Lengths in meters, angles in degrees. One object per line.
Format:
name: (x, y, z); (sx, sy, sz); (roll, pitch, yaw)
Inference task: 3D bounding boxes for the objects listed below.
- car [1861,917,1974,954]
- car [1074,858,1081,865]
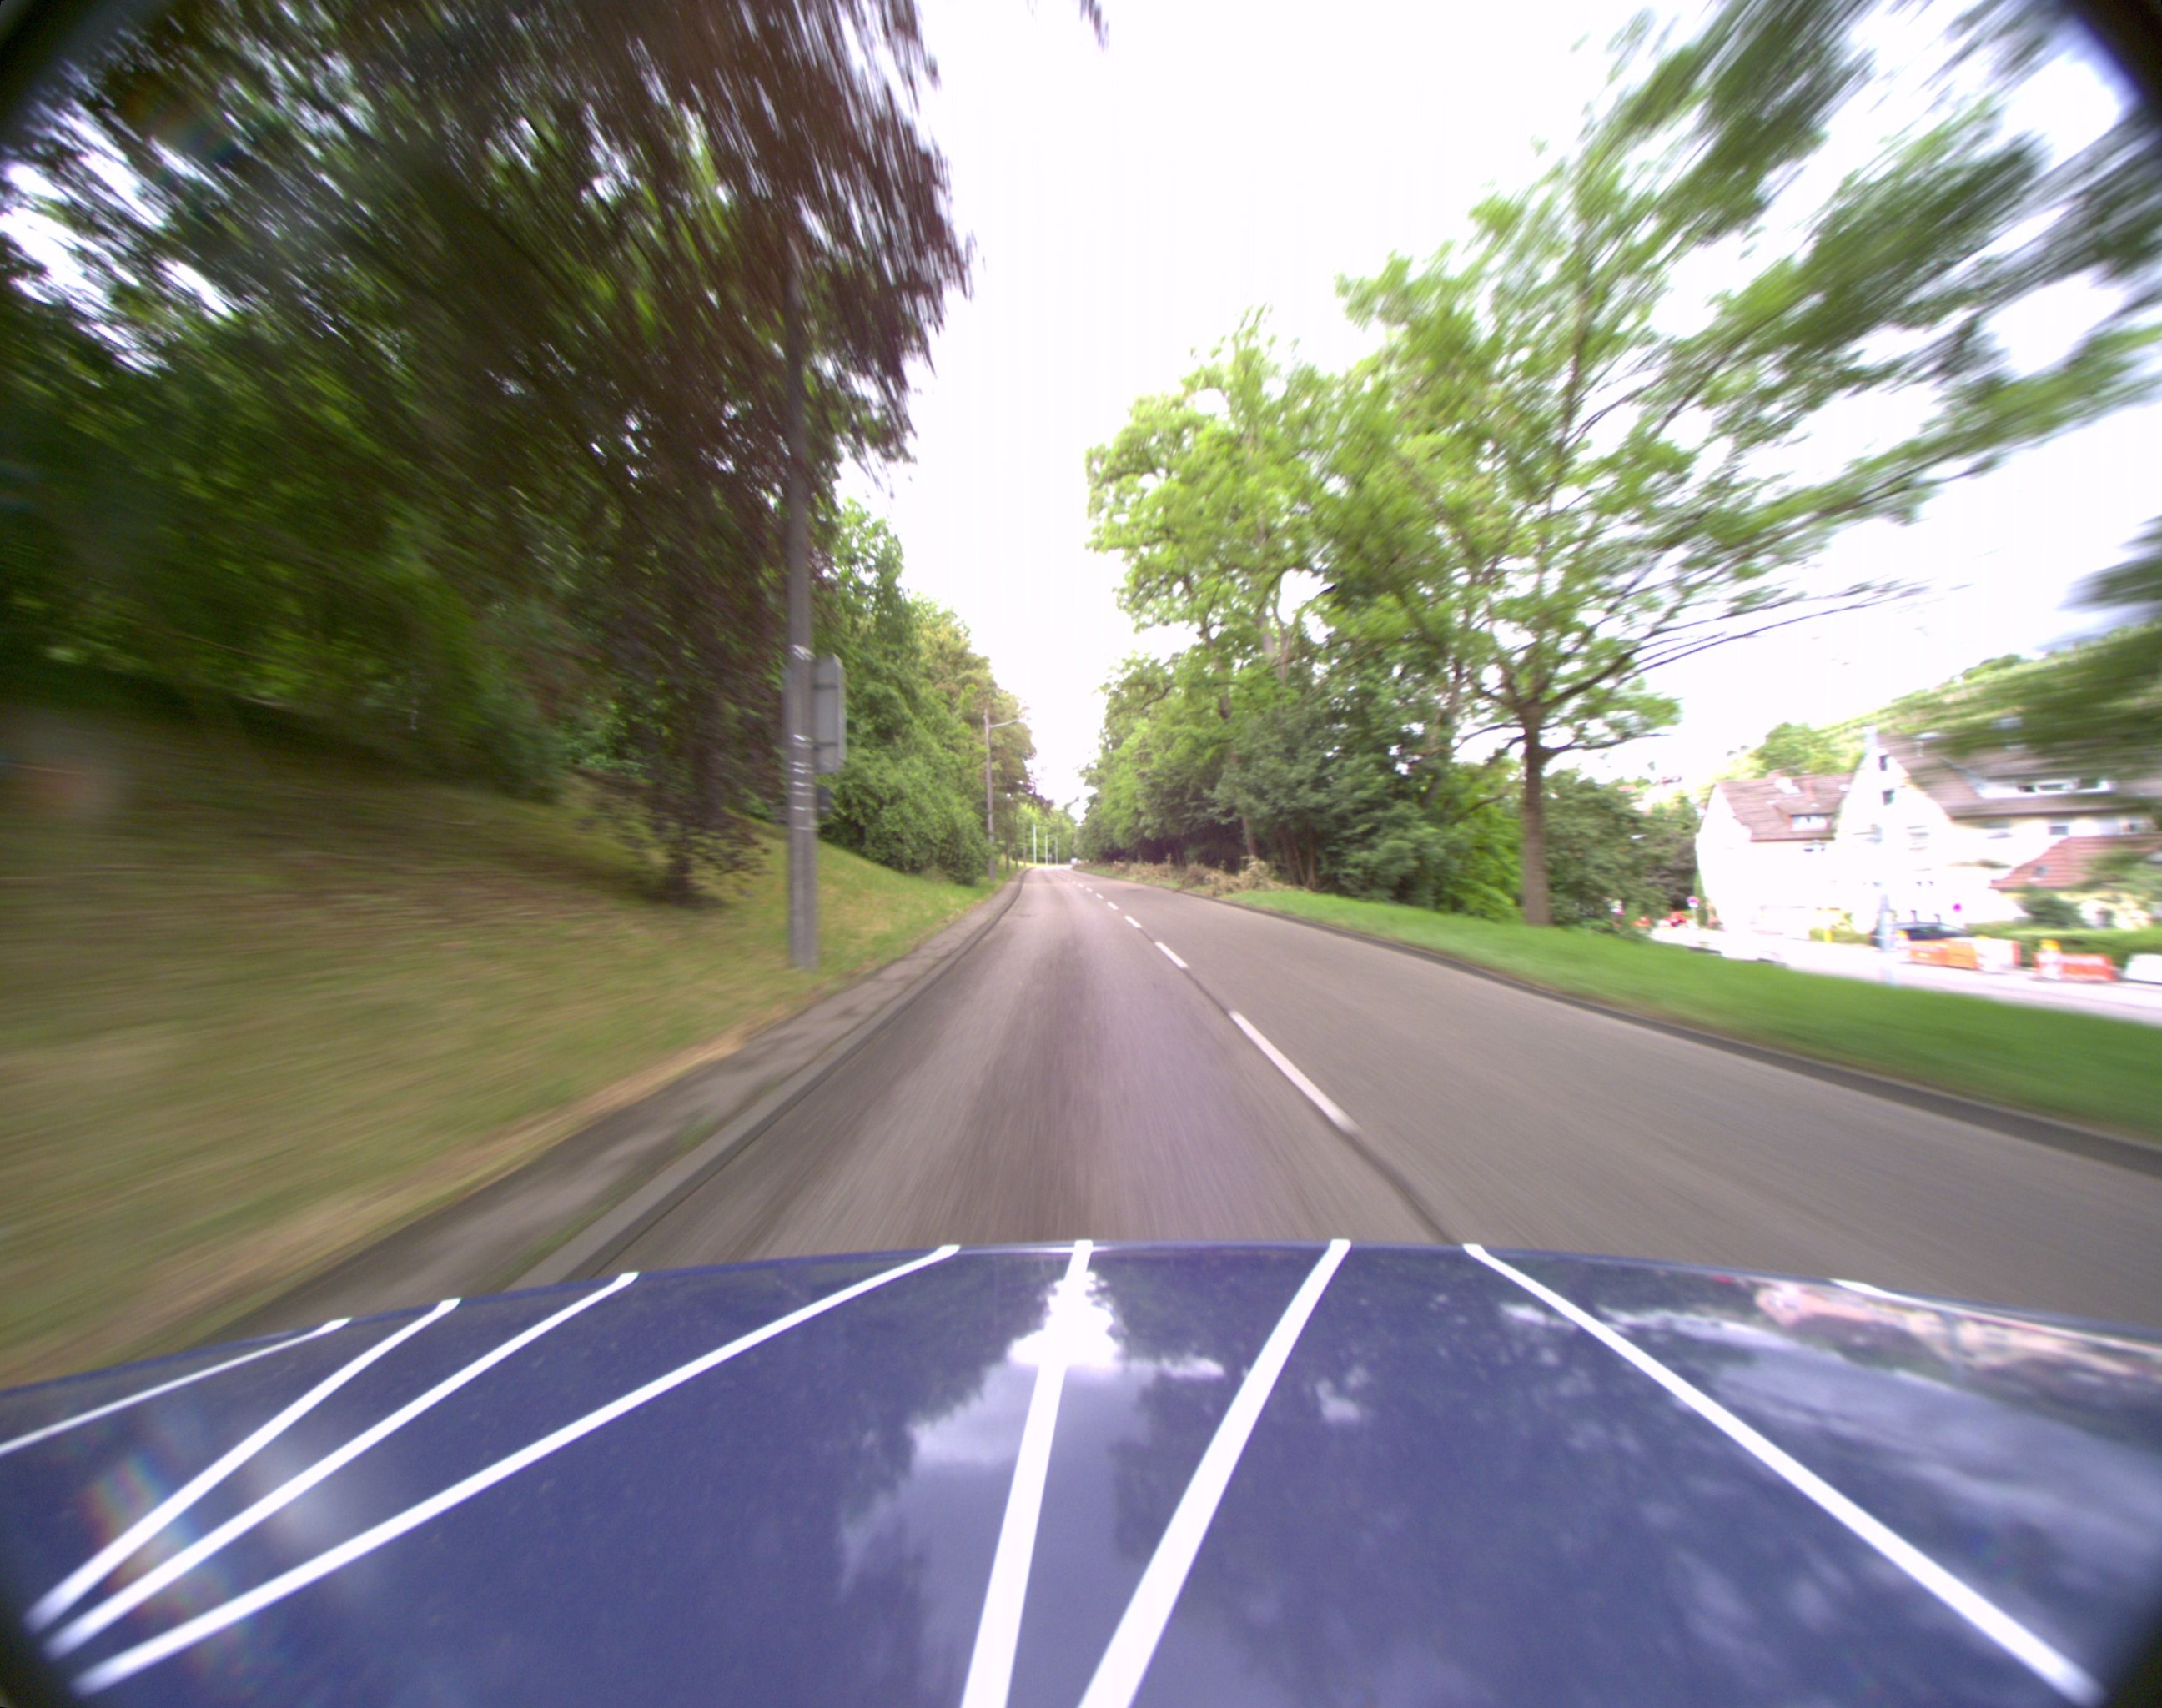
car: (46.474, 4.528, 42.308); (3.842, 1.870, 1.723); (-3, -2, 15)
car: (-1.049, 2.211, 216.671); (1.999, 1.936, 4.944); (-1, 0, -2)
